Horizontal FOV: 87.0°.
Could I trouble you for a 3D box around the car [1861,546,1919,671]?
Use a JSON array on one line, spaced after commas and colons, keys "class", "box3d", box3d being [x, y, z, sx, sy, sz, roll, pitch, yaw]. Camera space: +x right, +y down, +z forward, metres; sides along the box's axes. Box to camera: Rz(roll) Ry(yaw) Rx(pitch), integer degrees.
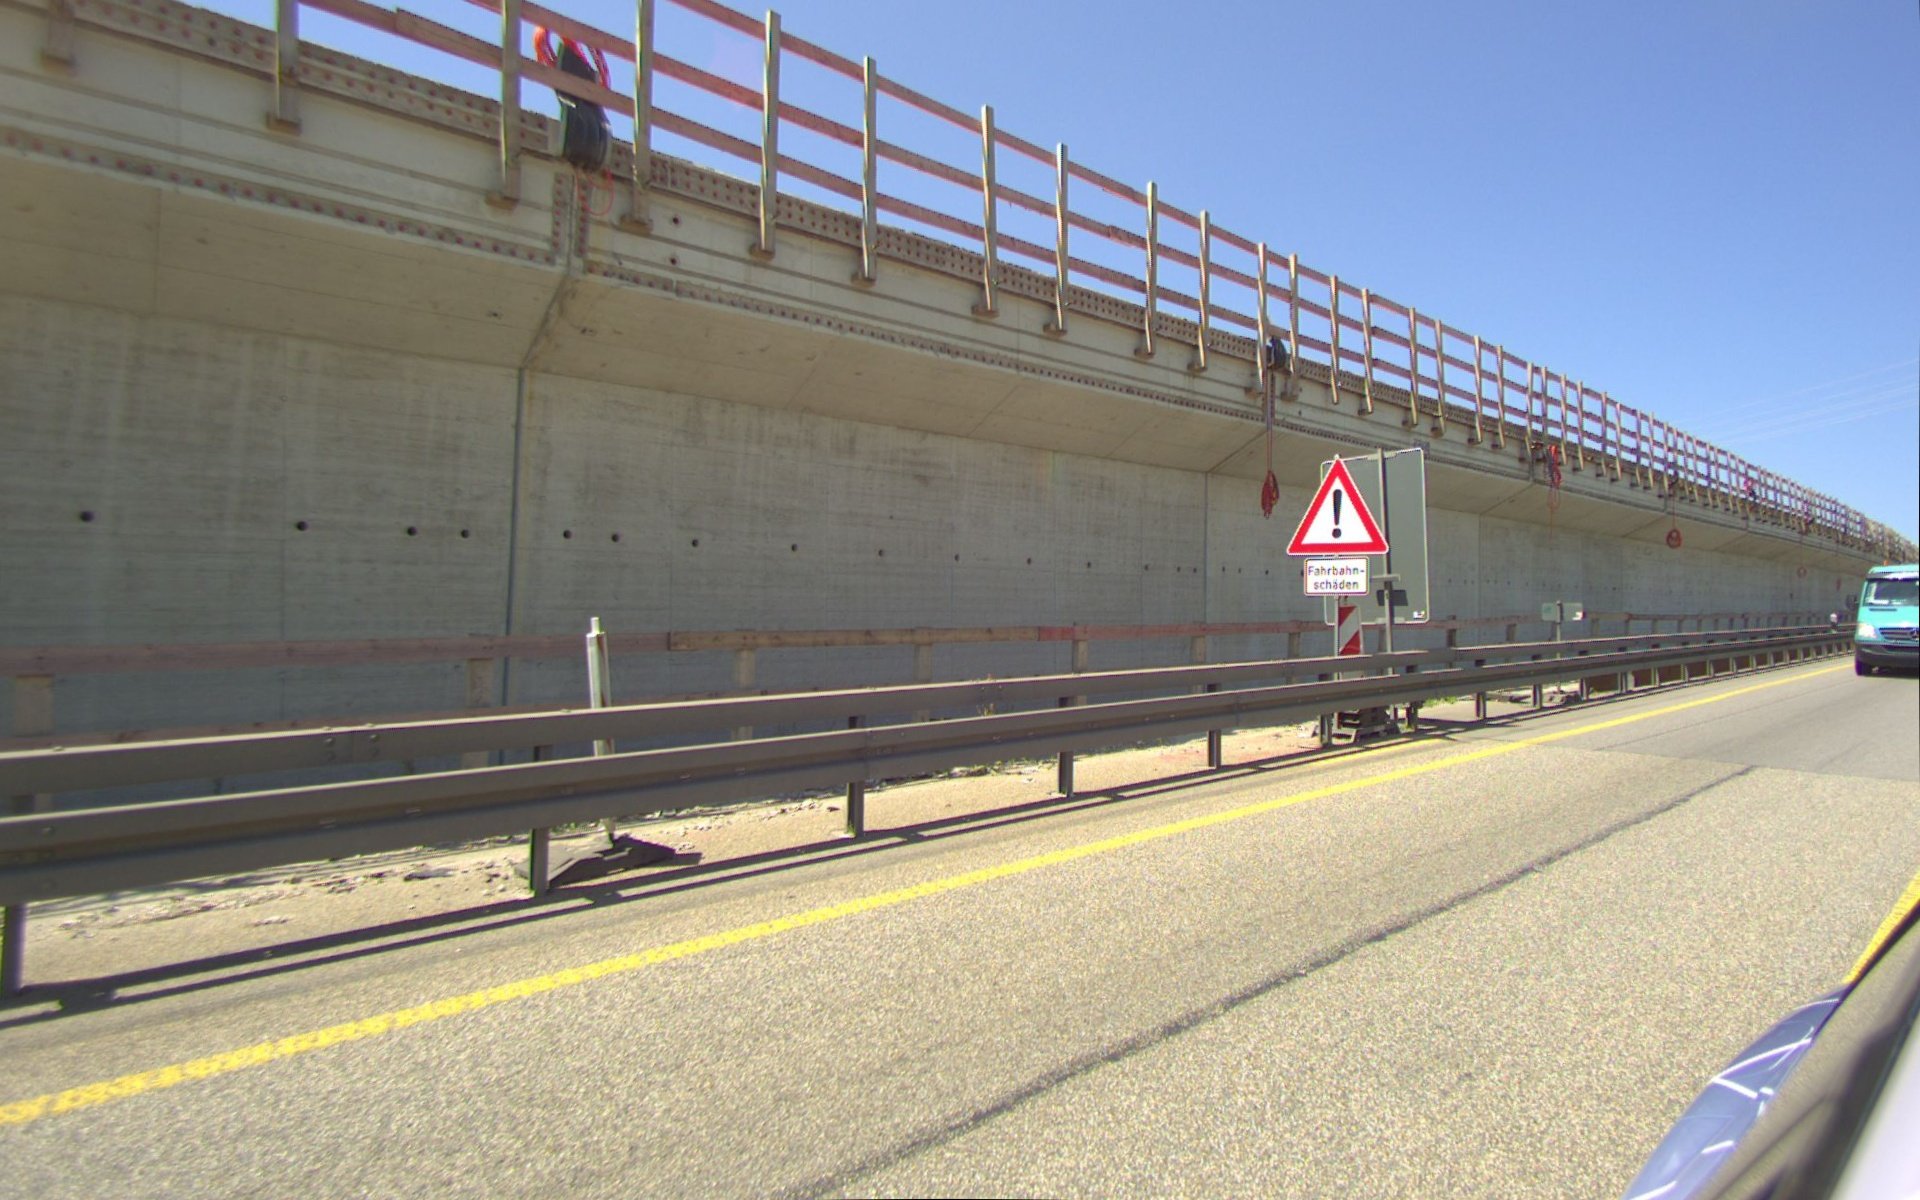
[{"class": "car", "box3d": [21.314, 0.127, 21.741, 7.084, 2.411, 1.966, -1, -1, -41]}]
